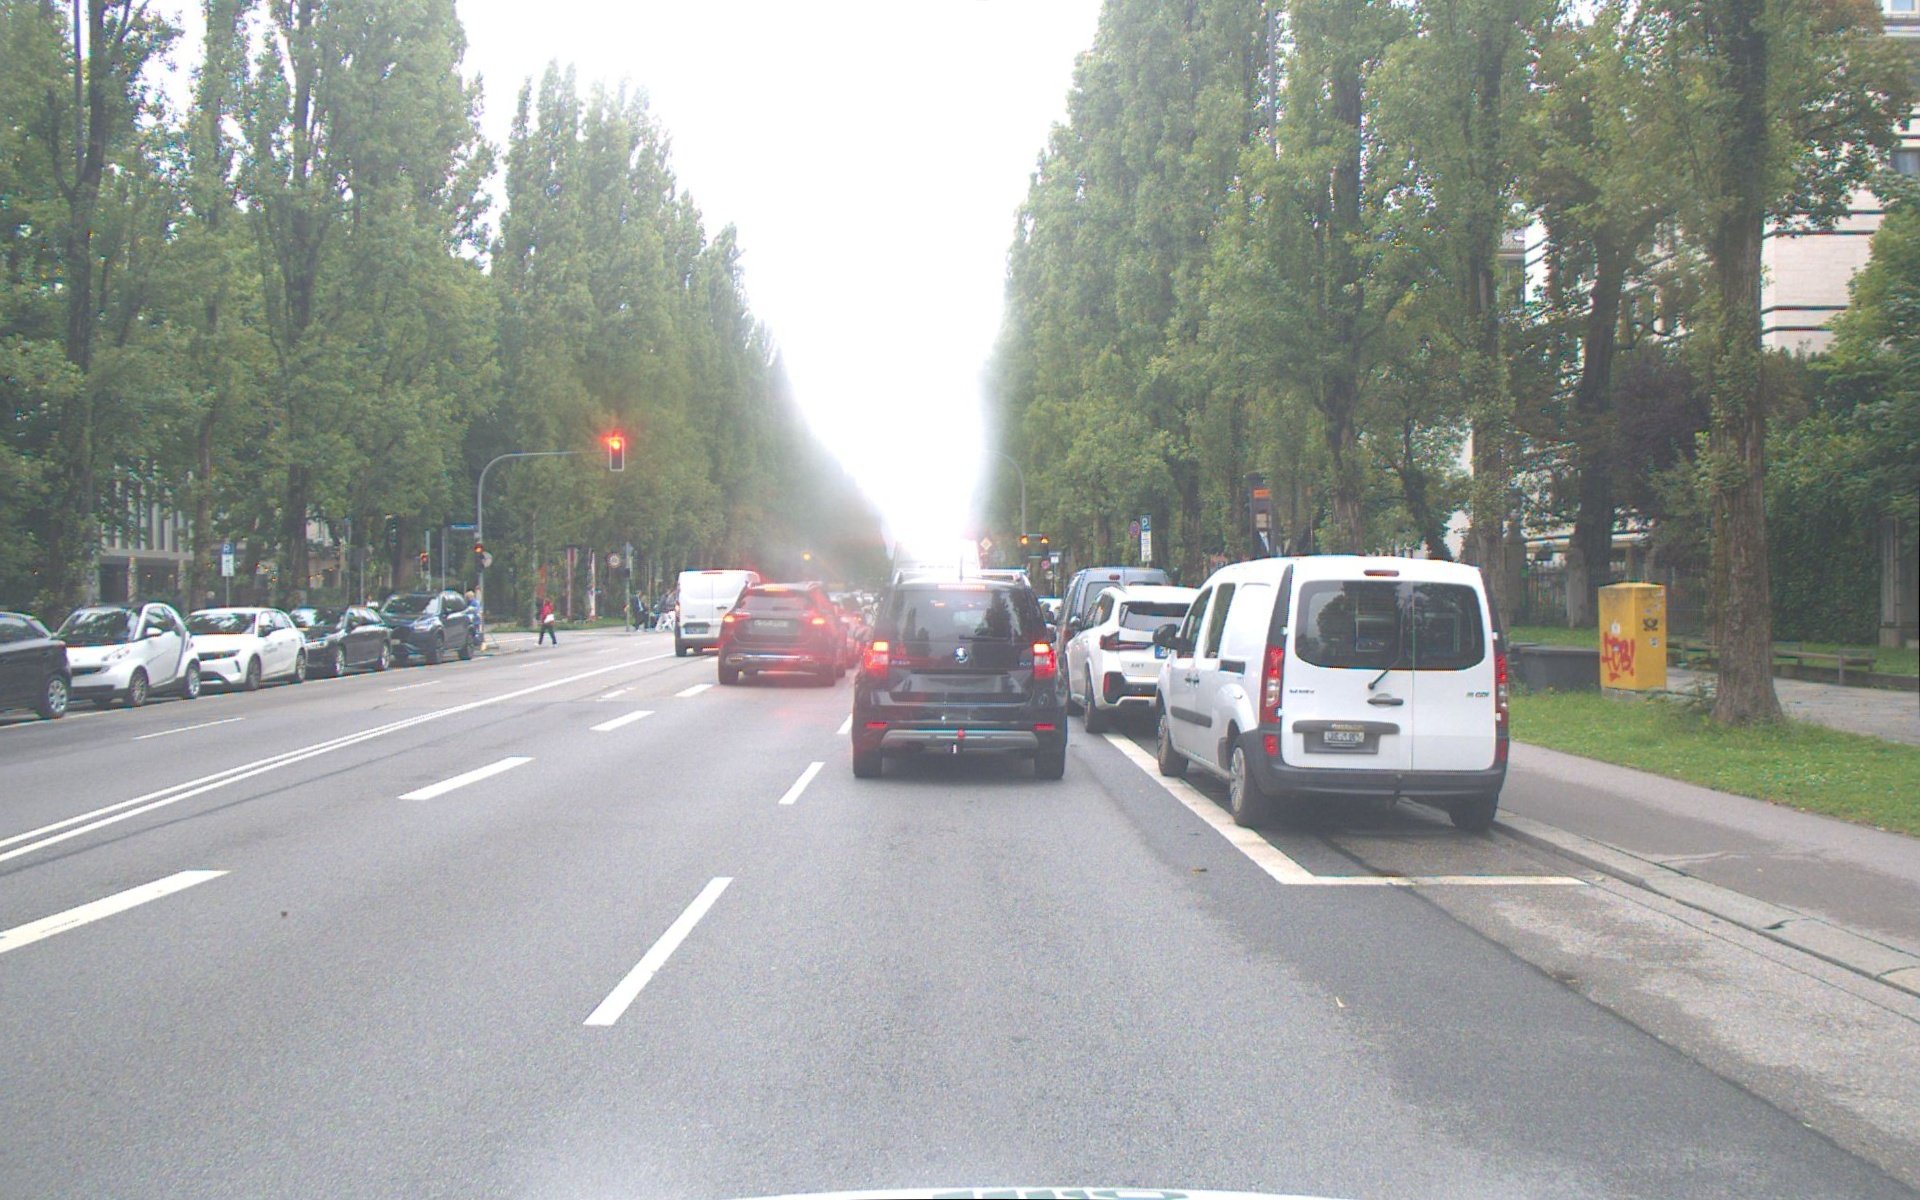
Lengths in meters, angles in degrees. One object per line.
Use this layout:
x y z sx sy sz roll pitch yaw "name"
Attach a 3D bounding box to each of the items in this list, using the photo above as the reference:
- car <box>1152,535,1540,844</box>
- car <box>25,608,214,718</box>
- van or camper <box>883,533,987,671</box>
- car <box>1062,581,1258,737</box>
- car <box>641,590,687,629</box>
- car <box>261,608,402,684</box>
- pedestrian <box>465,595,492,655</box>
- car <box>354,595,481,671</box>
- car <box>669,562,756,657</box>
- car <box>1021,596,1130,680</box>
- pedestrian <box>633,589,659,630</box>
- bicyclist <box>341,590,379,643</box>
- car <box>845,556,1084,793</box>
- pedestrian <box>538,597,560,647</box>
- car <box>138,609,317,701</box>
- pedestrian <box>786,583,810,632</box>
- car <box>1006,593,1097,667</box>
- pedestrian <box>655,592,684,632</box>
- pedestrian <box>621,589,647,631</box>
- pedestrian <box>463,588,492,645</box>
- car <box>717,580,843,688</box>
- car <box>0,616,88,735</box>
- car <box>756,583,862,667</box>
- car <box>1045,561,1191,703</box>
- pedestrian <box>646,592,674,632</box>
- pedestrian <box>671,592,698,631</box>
2.667 0.534 12.447 1.814 1.914 4.167 -1 1 -2 "car"
-12.886 0.922 25.528 1.399 1.472 2.965 -4 0 -2 "car"
-0.562 0.016 33.466 1.936 2.593 4.022 -1 0 -3 "van or camper"
2.239 0.600 19.530 1.706 1.620 4.210 -1 1 -1 "car"
-14.391 0.431 80.535 1.654 1.814 3.774 -1 1 -1 "car"
-13.300 0.927 35.252 1.591 1.413 4.164 -3 0 -4 "car"
-13.195 0.679 45.362 0.517 1.605 0.662 -1 0 -1 "pedestrian"
-13.391 0.773 41.134 1.812 1.683 4.692 -3 0 -4 "car"
-5.903 0.202 39.776 1.746 2.148 4.021 -1 0 -4 "car"
2.094 0.664 30.876 1.700 1.411 3.561 -1 1 -1 "car"
-13.918 0.438 73.352 0.861 1.795 0.879 -1 0 8 "pedestrian"
-19.953 0.548 55.030 0.886 1.752 0.825 -1 0 8 "bicyclist"
-0.002 0.569 14.843 1.818 1.801 3.999 1 0 -1 "car"
-12.618 0.676 50.796 0.507 1.511 0.536 -1 0 -1 "pedestrian"
-13.065 0.934 29.755 1.592 1.413 4.163 -3 0 -5 "car"
-6.822 0.306 69.843 0.867 2.049 1.013 -1 0 1 "pedestrian"
1.957 0.612 36.175 1.700 1.501 3.561 -1 1 -1 "car"
-12.421 0.512 70.737 0.874 1.684 0.866 -1 0 -39 "pedestrian"
-14.275 0.433 72.400 0.861 1.795 0.879 -1 0 8 "pedestrian"
-13.783 0.468 47.273 0.647 1.605 0.530 -1 0 -1 "pedestrian"
-2.960 0.510 27.870 1.745 1.648 4.024 1 1 -1 "car"
-12.748 1.001 20.667 1.568 1.450 3.851 -3 0 0 "car"
-3.051 0.461 34.161 1.953 1.588 3.998 -1 1 -2 "car"
2.284 0.417 24.805 1.700 1.928 4.024 -1 1 -1 "car"
-12.957 0.510 71.482 0.874 1.684 0.866 -1 0 -39 "pedestrian"
-12.042 0.518 72.265 0.874 1.684 0.866 -1 0 -39 "pedestrian"
